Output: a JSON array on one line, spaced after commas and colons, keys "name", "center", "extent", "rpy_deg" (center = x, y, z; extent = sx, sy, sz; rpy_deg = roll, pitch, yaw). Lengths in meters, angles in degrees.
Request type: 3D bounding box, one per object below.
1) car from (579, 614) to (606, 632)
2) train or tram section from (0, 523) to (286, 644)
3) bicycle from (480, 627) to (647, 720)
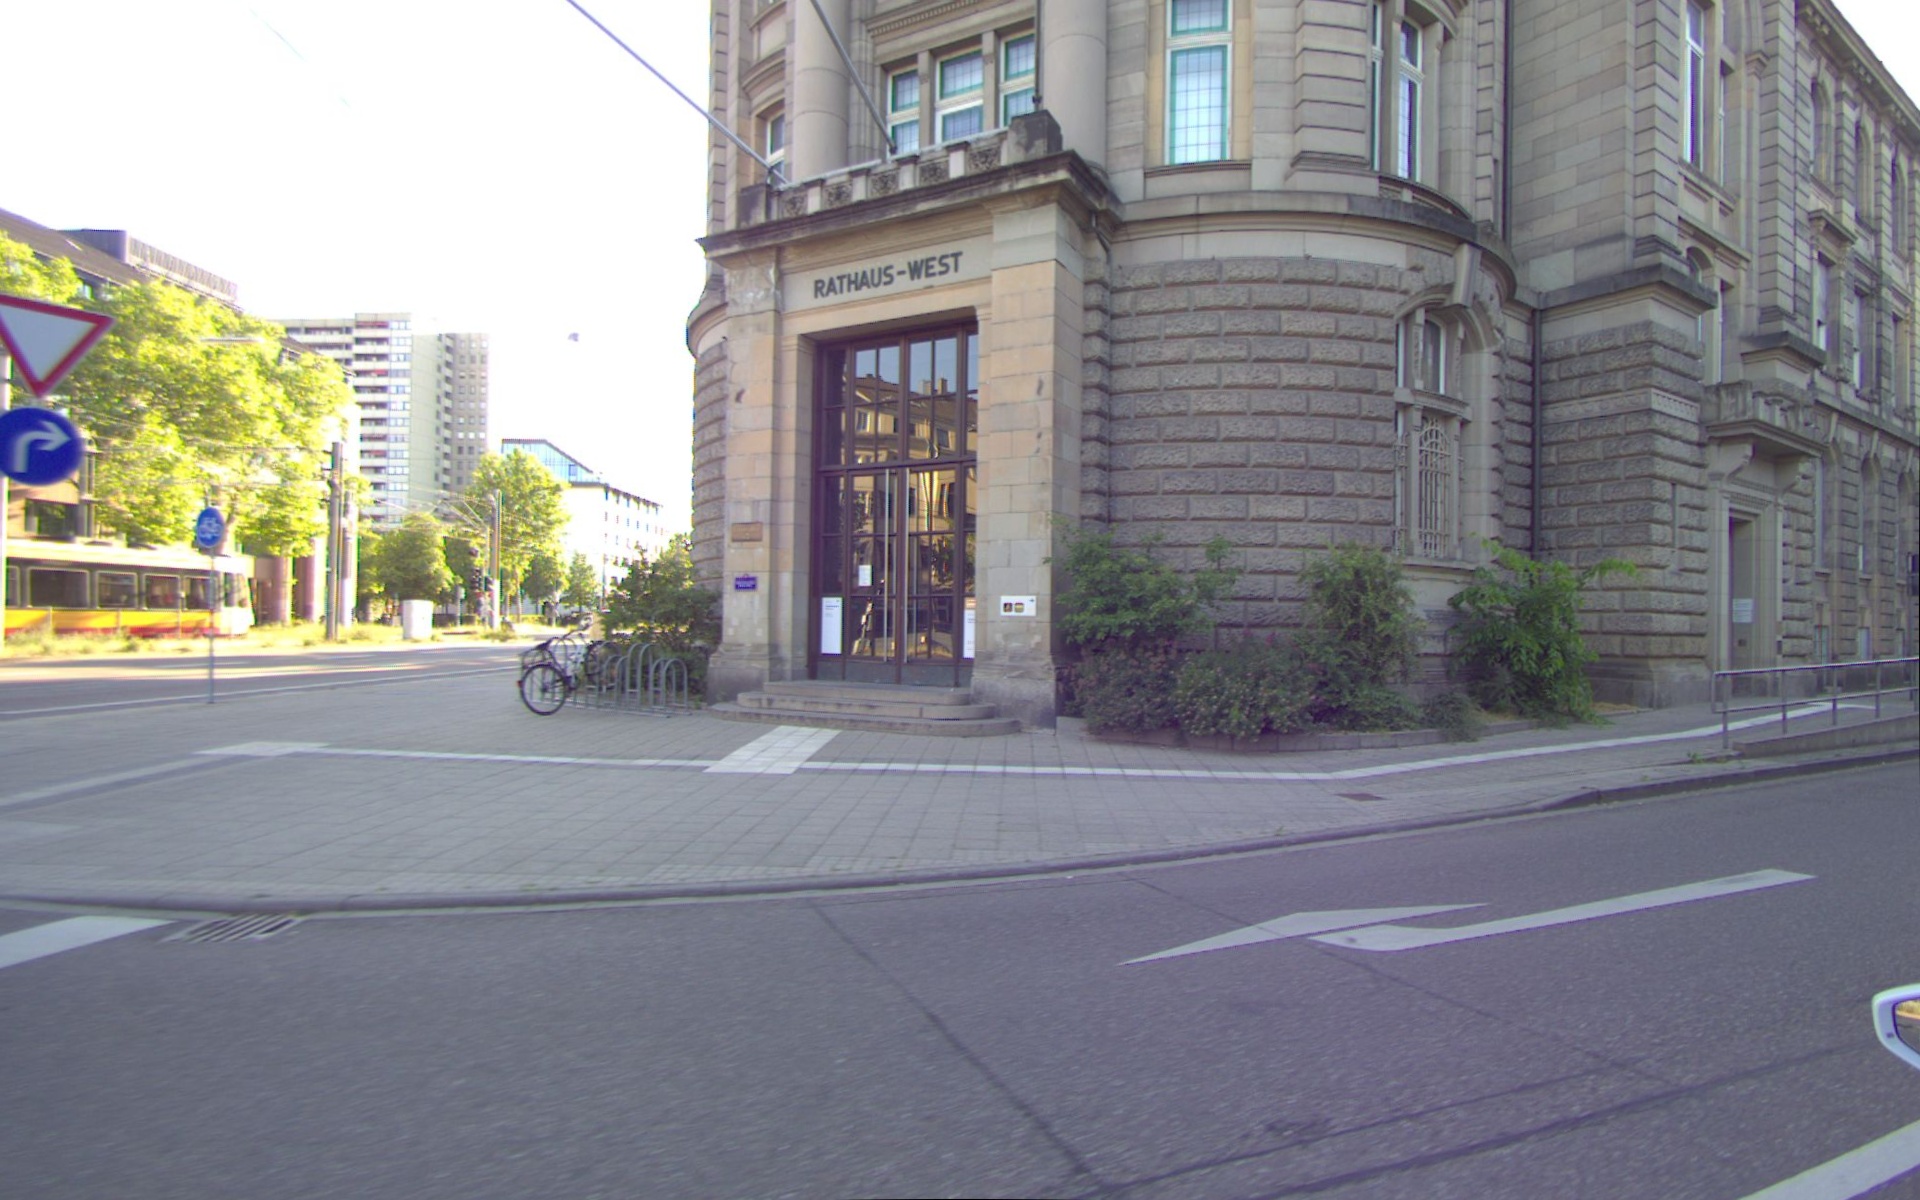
[{"name": "car", "center": [-32.958, 2.062, 90.207], "extent": [1.582, 1.549, 3.552], "rpy_deg": [1, -1, -9]}, {"name": "train or tram section", "center": [-29.966, -0.478, 30.881], "extent": [3.059, 3.606, 19.946], "rpy_deg": [1, -1, 7]}, {"name": "bicycle", "center": [-5.602, 1.003, 14.381], "extent": [0.853, 1.212, 2.237], "rpy_deg": [0, -2, 25]}]
